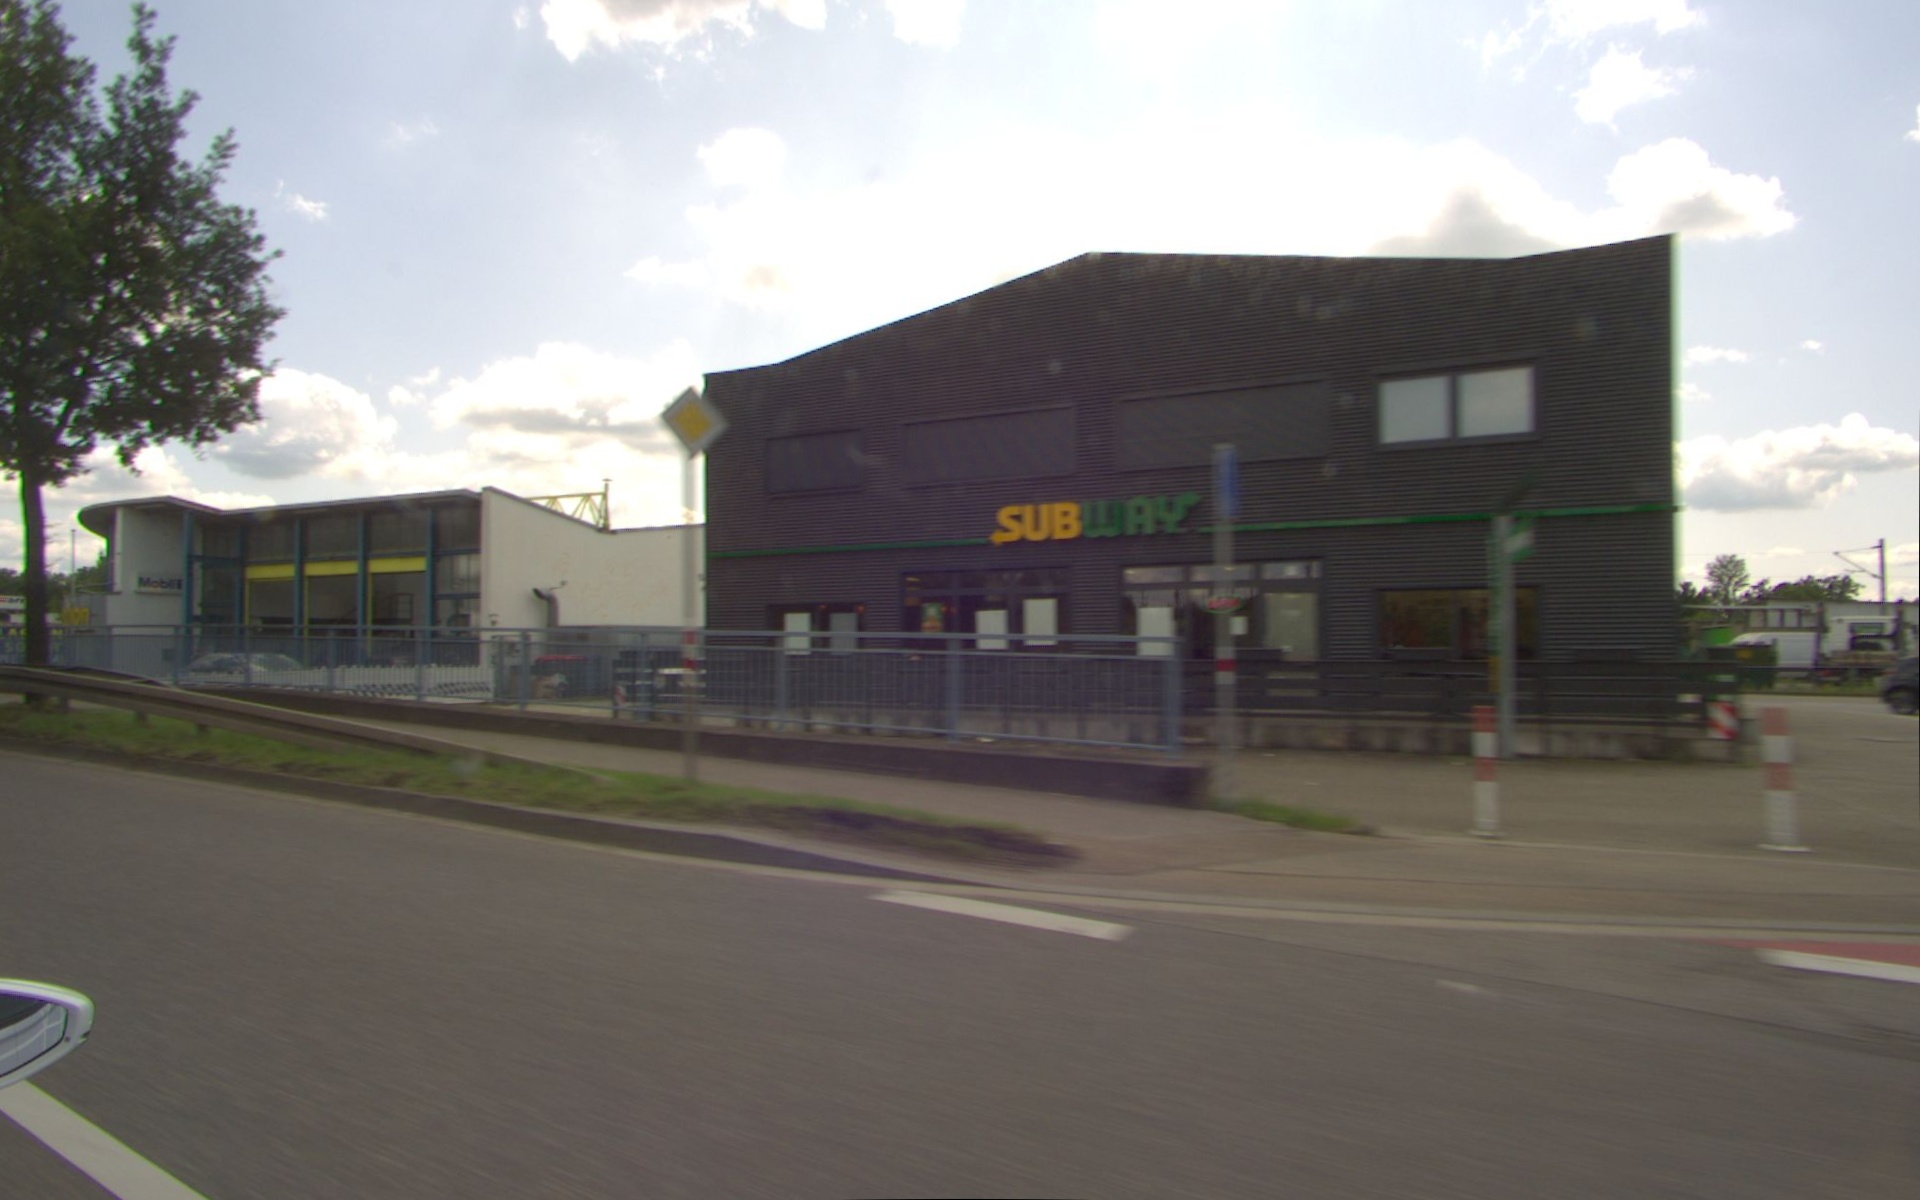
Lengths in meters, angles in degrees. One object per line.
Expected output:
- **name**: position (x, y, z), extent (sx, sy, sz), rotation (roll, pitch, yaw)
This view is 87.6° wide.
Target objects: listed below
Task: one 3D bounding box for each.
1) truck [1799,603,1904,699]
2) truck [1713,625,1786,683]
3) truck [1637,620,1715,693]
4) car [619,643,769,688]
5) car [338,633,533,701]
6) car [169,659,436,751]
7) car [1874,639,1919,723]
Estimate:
- **truck**: position (33.464, 2.007, 37.603), extent (2.682, 3.294, 5.888), rotation (-2, -6, 42)
- **truck**: position (30.493, 2.145, 38.636), extent (1.957, 2.109, 4.306), rotation (-2, -5, 41)
- **truck**: position (28.887, 2.324, 40.337), extent (2.095, 2.746, 4.306), rotation (-2, -5, 41)
- **car**: position (-8.479, 2.054, 31.949), extent (4.313, 1.302, 1.992), rotation (1, -1, -27)
- **car**: position (-17.257, 2.184, 33.382), extent (2.193, 2.038, 5.813), rotation (-1, -3, 20)
- **car**: position (-12.292, 1.883, 18.707), extent (4.671, 1.376, 1.995), rotation (0, -1, 25)
- **car**: position (24.534, 1.959, 23.810), extent (1.721, 2.039, 3.881), rotation (1, -2, -9)
